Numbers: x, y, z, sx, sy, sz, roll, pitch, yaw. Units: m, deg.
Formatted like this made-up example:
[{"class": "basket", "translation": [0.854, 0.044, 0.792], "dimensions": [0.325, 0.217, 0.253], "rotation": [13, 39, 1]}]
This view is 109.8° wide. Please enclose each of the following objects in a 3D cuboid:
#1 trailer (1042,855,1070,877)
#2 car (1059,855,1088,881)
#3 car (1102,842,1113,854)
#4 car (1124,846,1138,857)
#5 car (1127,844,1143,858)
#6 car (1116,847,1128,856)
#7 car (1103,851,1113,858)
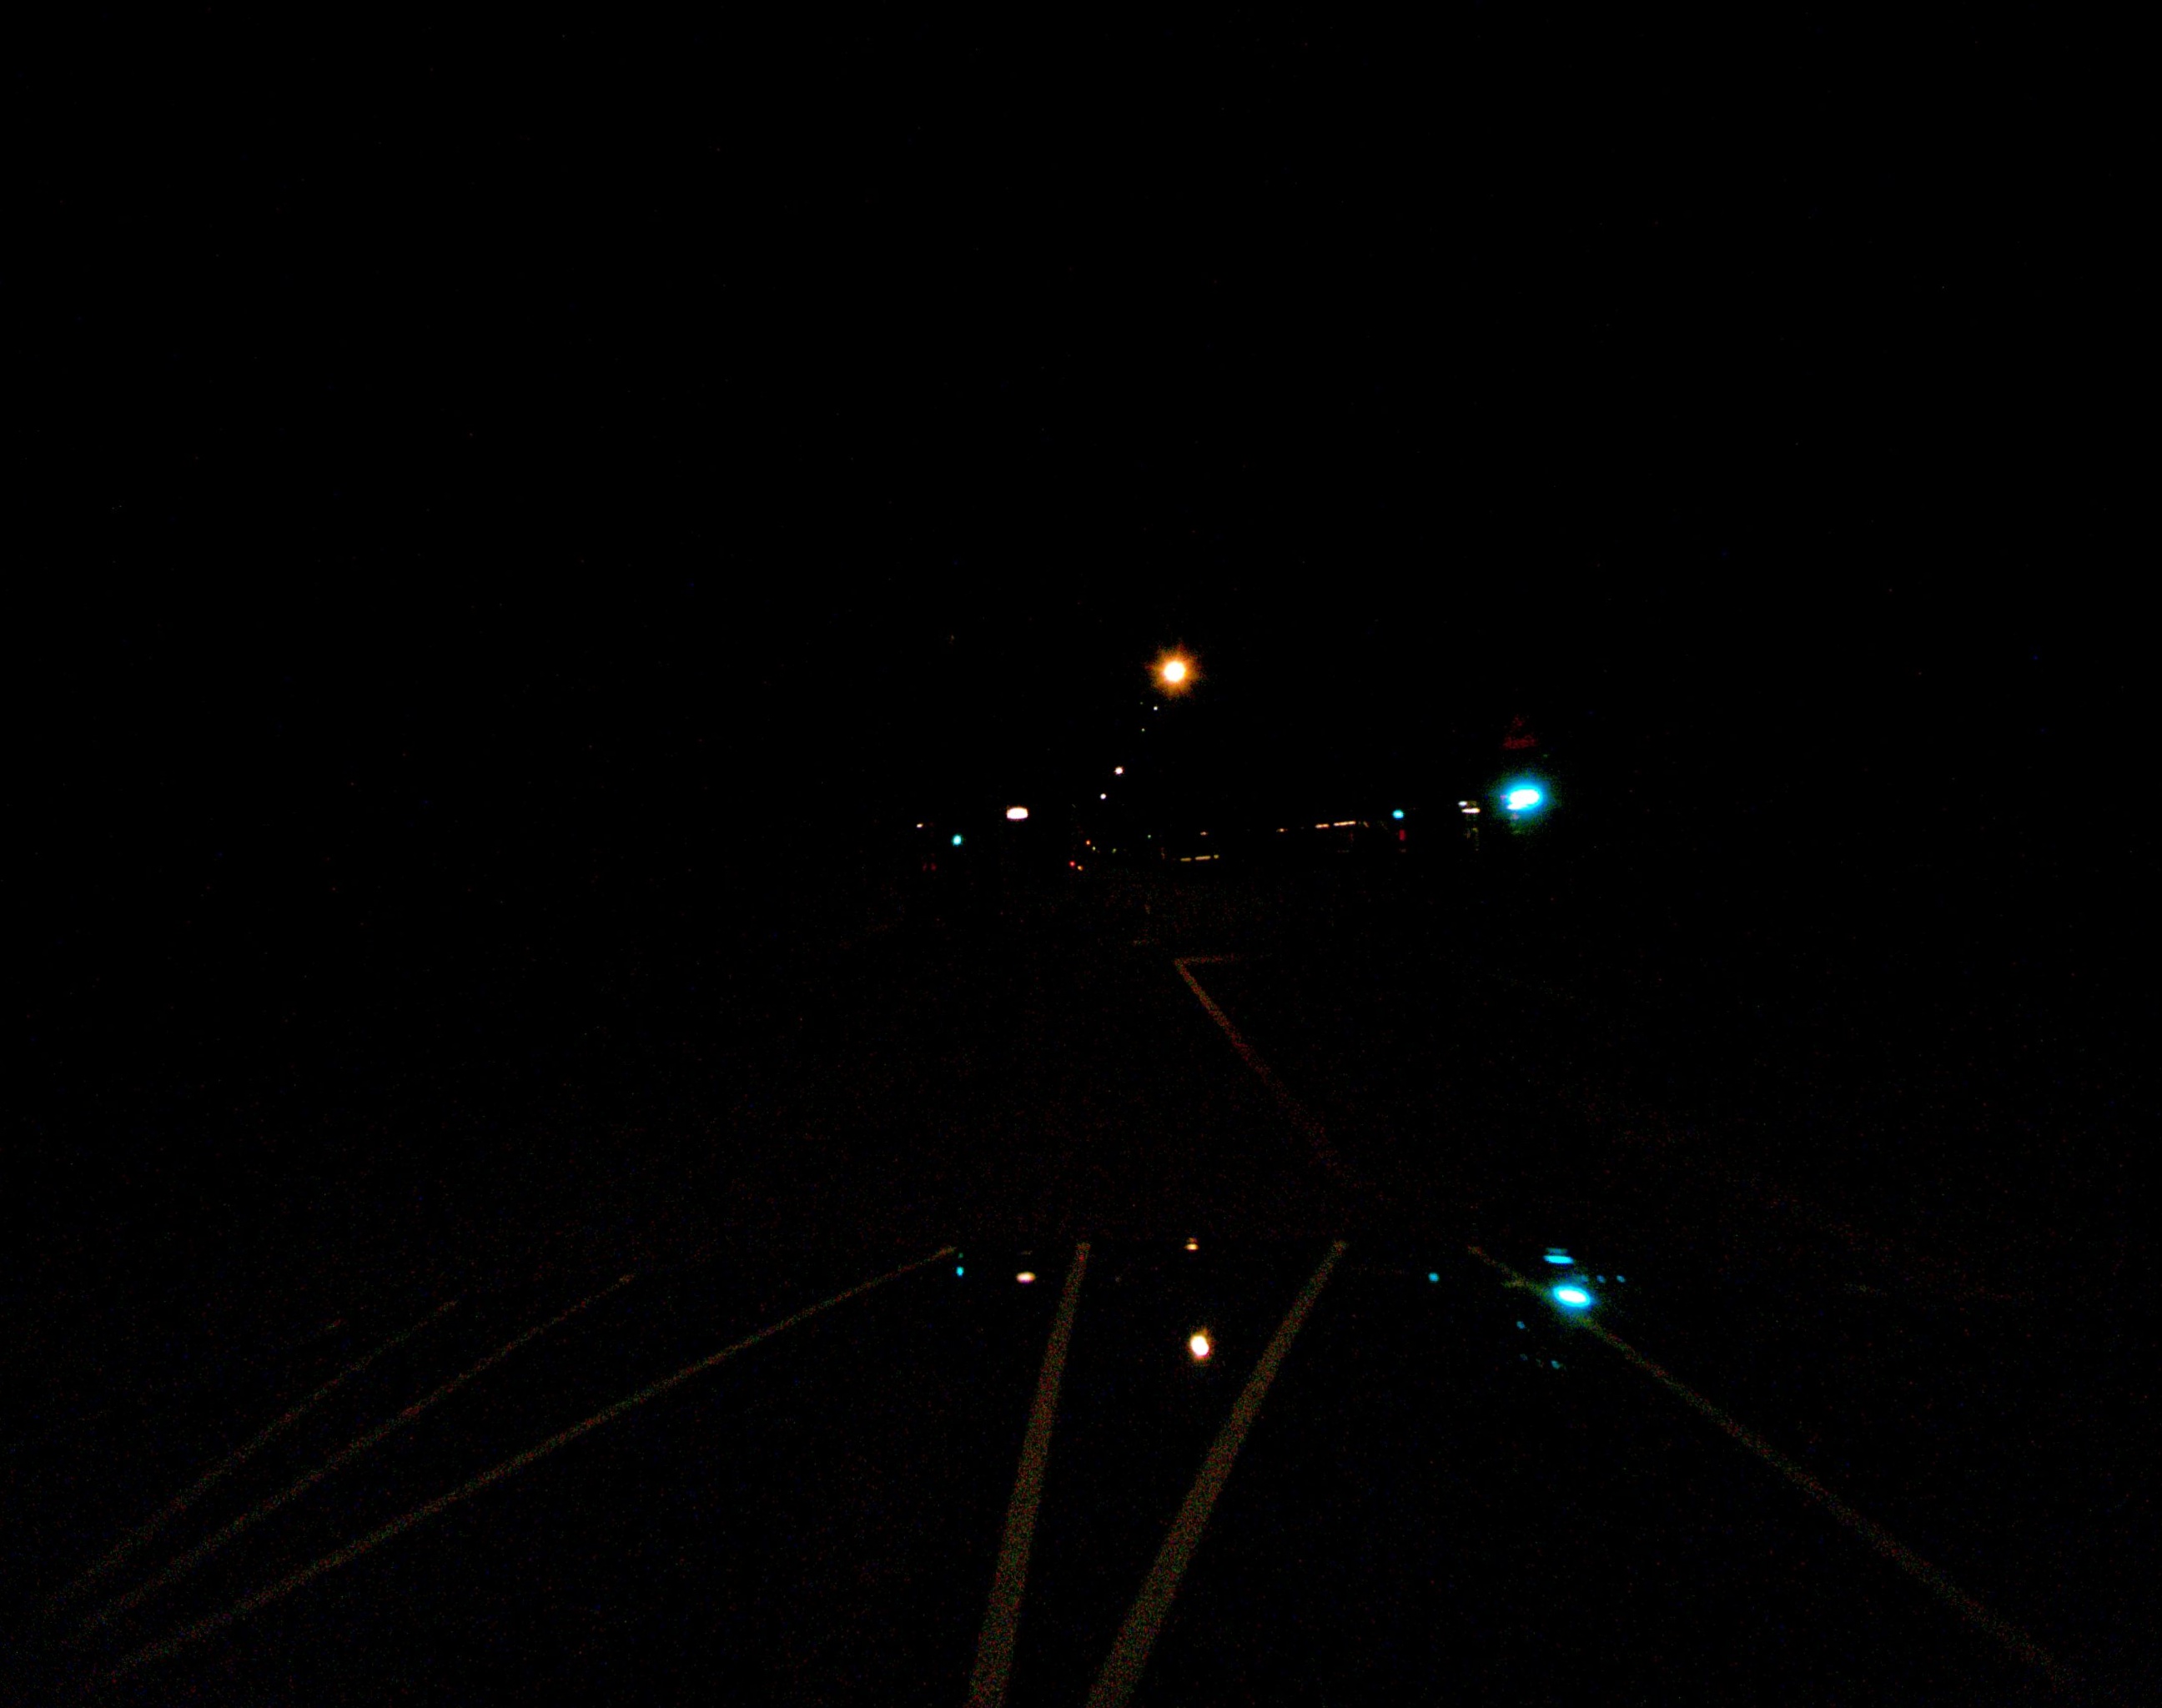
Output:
[{"class": "trailer", "translation": [-1.852, 0.888, 57.734], "dimensions": [1.604, 1.486, 3.734], "rotation": [-4, 0, 4]}, {"class": "car", "translation": [-0.434, 0.851, 48.177], "dimensions": [1.590, 1.452, 3.797], "rotation": [-4, 0, 2]}, {"class": "car", "translation": [6.193, -1.424, 180.044], "dimensions": [2.005, 2.493, 4.953], "rotation": [-6, 0, -2]}, {"class": "car", "translation": [7.420, -0.364, 113.294], "dimensions": [1.826, 1.423, 3.731], "rotation": [-6, 0, 1]}, {"class": "car", "translation": [7.601, -0.400, 107.274], "dimensions": [1.882, 1.798, 3.731], "rotation": [-6, 0, 1]}, {"class": "car", "translation": [7.294, -0.460, 135.348], "dimensions": [1.826, 1.637, 3.731], "rotation": [-2, 0, 1]}, {"class": "car", "translation": [6.001, 0.071, 168.617], "dimensions": [1.826, 1.423, 3.730], "rotation": [-6, 0, -2]}]
